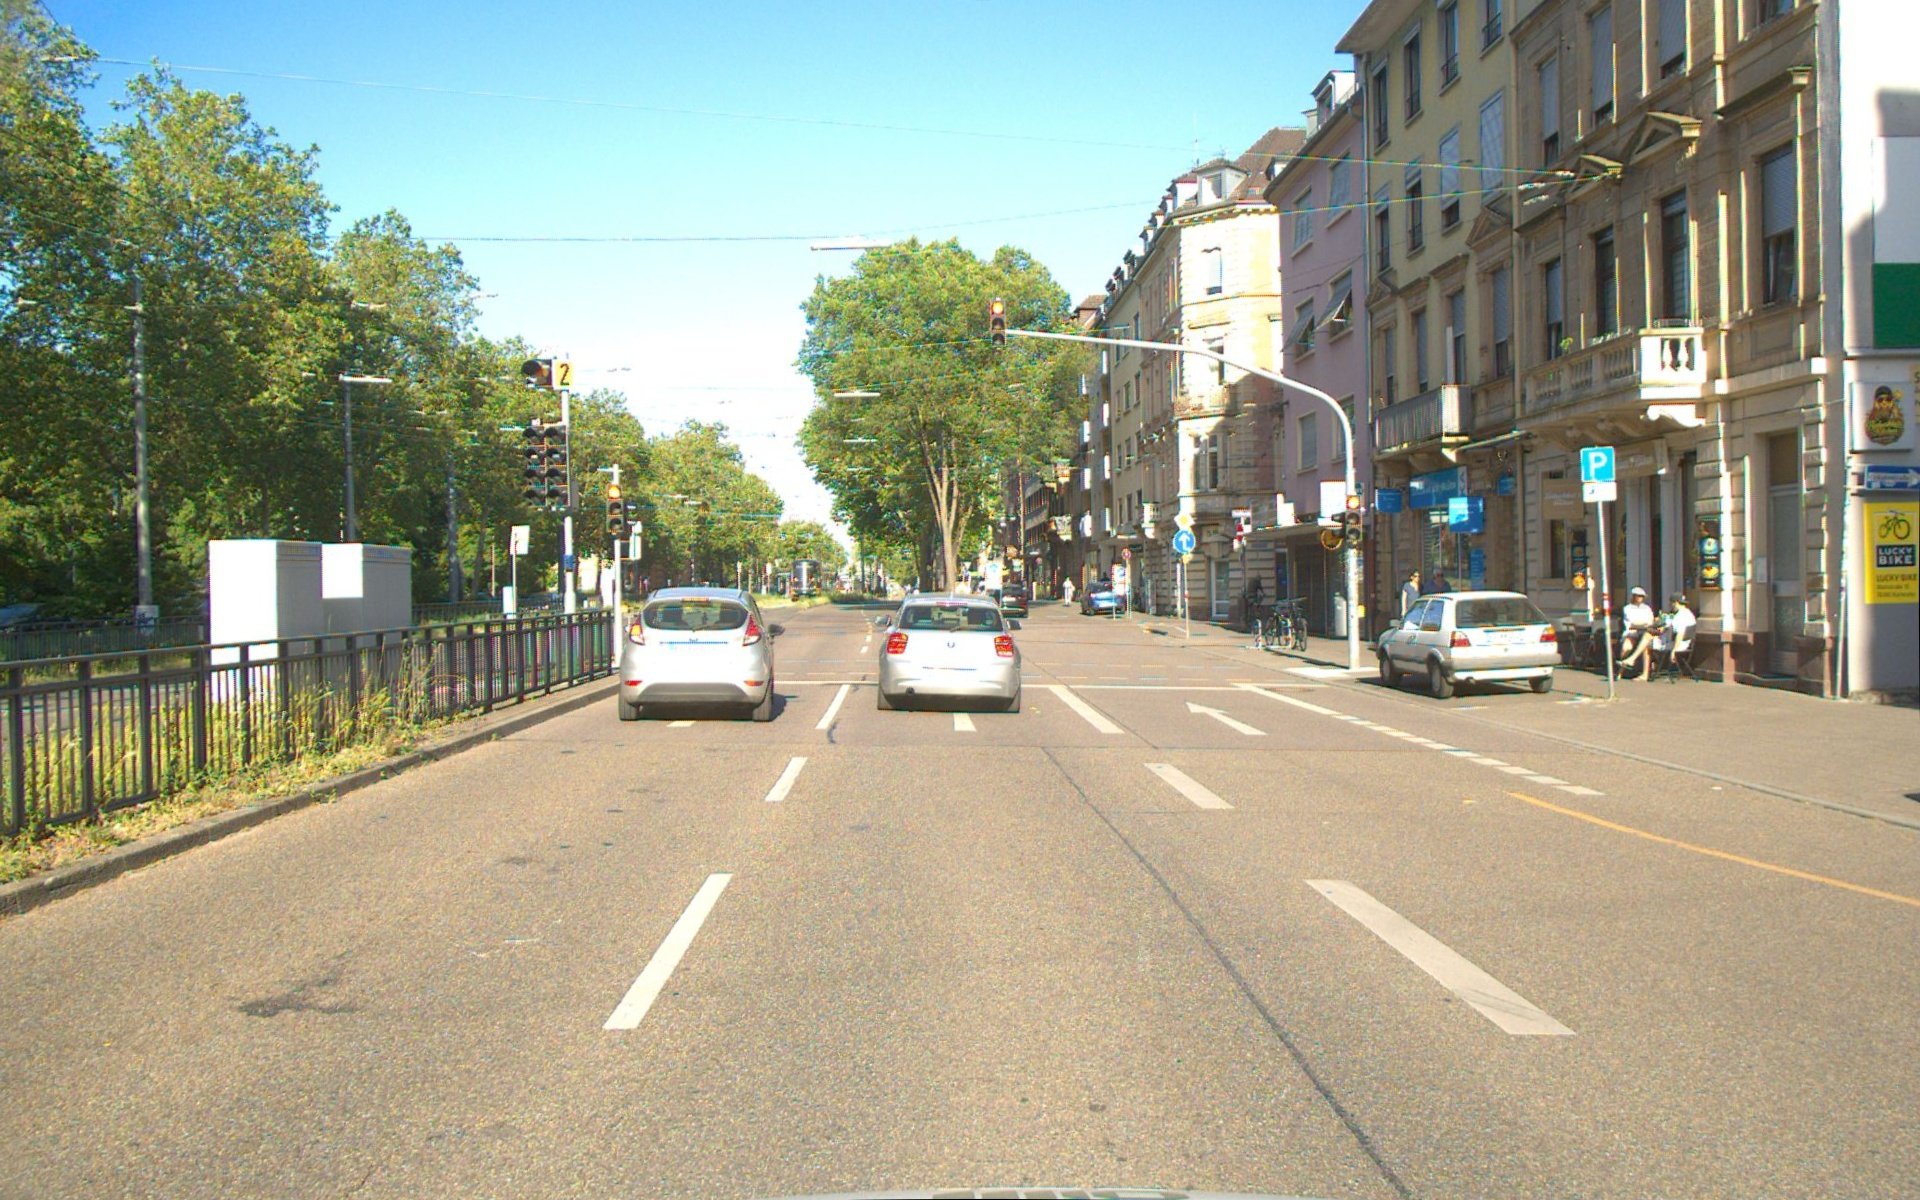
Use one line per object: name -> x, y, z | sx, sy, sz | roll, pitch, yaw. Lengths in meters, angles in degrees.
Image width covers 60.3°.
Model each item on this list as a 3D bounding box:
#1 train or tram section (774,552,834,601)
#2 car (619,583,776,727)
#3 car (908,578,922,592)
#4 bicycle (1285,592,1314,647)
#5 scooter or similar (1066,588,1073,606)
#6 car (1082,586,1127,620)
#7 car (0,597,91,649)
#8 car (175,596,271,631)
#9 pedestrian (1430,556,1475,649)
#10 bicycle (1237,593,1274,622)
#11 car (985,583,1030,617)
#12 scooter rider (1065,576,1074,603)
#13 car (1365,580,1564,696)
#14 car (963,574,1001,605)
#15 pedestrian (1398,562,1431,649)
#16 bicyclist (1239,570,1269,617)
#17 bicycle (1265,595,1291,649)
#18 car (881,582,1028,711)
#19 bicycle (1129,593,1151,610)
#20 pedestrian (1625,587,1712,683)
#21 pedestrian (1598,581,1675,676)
train or tram section -> -13.441, -2.040, 144.072 | 3.888, 3.933, 17.485 | 0, 1, -1
car -> -2.998, 0.561, 19.473 | 1.578, 1.493, 3.885 | -1, 1, -6
car -> -6.670, -2.178, 246.454 | 1.953, 2.049, 3.999 | -1, 1, -1
bicycle -> 7.667, 0.422, 37.389 | 0.439, 1.179, 1.759 | -1, 1, 4
scooter or similar -> 6.353, -0.171, 96.171 | 0.330, 1.005, 1.284 | 0, 1, 0
car -> 6.791, 0.144, 78.136 | 1.700, 1.546, 3.635 | 1, 1, -2
car -> -29.415, 0.696, 52.481 | 1.636, 1.536, 4.143 | -1, 1, -3
car -> -29.999, 0.542, 67.475 | 1.897, 1.372, 4.846 | 0, 0, -3
pedestrian -> 9.898, 0.049, 33.259 | 0.659, 1.837, 0.530 | -3, 0, -2
bicycle -> 9.696, 0.236, 54.273 | 0.642, 0.919, 1.331 | 0, 1, 40
car -> 2.055, -0.015, 72.097 | 1.701, 1.458, 3.676 | 1, 1, -3
scooter rider -> 6.359, -0.622, 96.018 | 0.456, 1.531, 0.810 | 0, -1, -1
car -> 7.271, 0.488, 24.210 | 1.531, 1.440, 4.003 | -4, 1, -1
car -> 1.093, -0.537, 82.940 | 1.690, 1.533, 3.553 | 1, 1, -3
pedestrian -> 9.222, 0.109, 33.585 | 0.538, 1.738, 0.388 | -1, 0, 1
bicyclist -> 9.646, -0.210, 54.246 | 0.538, 1.528, 0.956 | -1, 1, 40
bicycle -> 7.175, 0.488, 37.353 | 0.405, 1.160, 1.810 | 0, 1, 5
car -> -0.110, 0.526, 21.420 | 1.705, 1.493, 3.999 | 1, 1, -1
bicycle -> 8.501, 0.068, 78.322 | 0.739, 0.784, 1.944 | 0, 1, -3
pedestrian -> 9.993, 0.483, 23.351 | 0.883, 1.304, 0.655 | -2, 1, -6
pedestrian -> 9.830, 0.410, 24.036 | 0.782, 1.303, 0.608 | -4, 1, -3
